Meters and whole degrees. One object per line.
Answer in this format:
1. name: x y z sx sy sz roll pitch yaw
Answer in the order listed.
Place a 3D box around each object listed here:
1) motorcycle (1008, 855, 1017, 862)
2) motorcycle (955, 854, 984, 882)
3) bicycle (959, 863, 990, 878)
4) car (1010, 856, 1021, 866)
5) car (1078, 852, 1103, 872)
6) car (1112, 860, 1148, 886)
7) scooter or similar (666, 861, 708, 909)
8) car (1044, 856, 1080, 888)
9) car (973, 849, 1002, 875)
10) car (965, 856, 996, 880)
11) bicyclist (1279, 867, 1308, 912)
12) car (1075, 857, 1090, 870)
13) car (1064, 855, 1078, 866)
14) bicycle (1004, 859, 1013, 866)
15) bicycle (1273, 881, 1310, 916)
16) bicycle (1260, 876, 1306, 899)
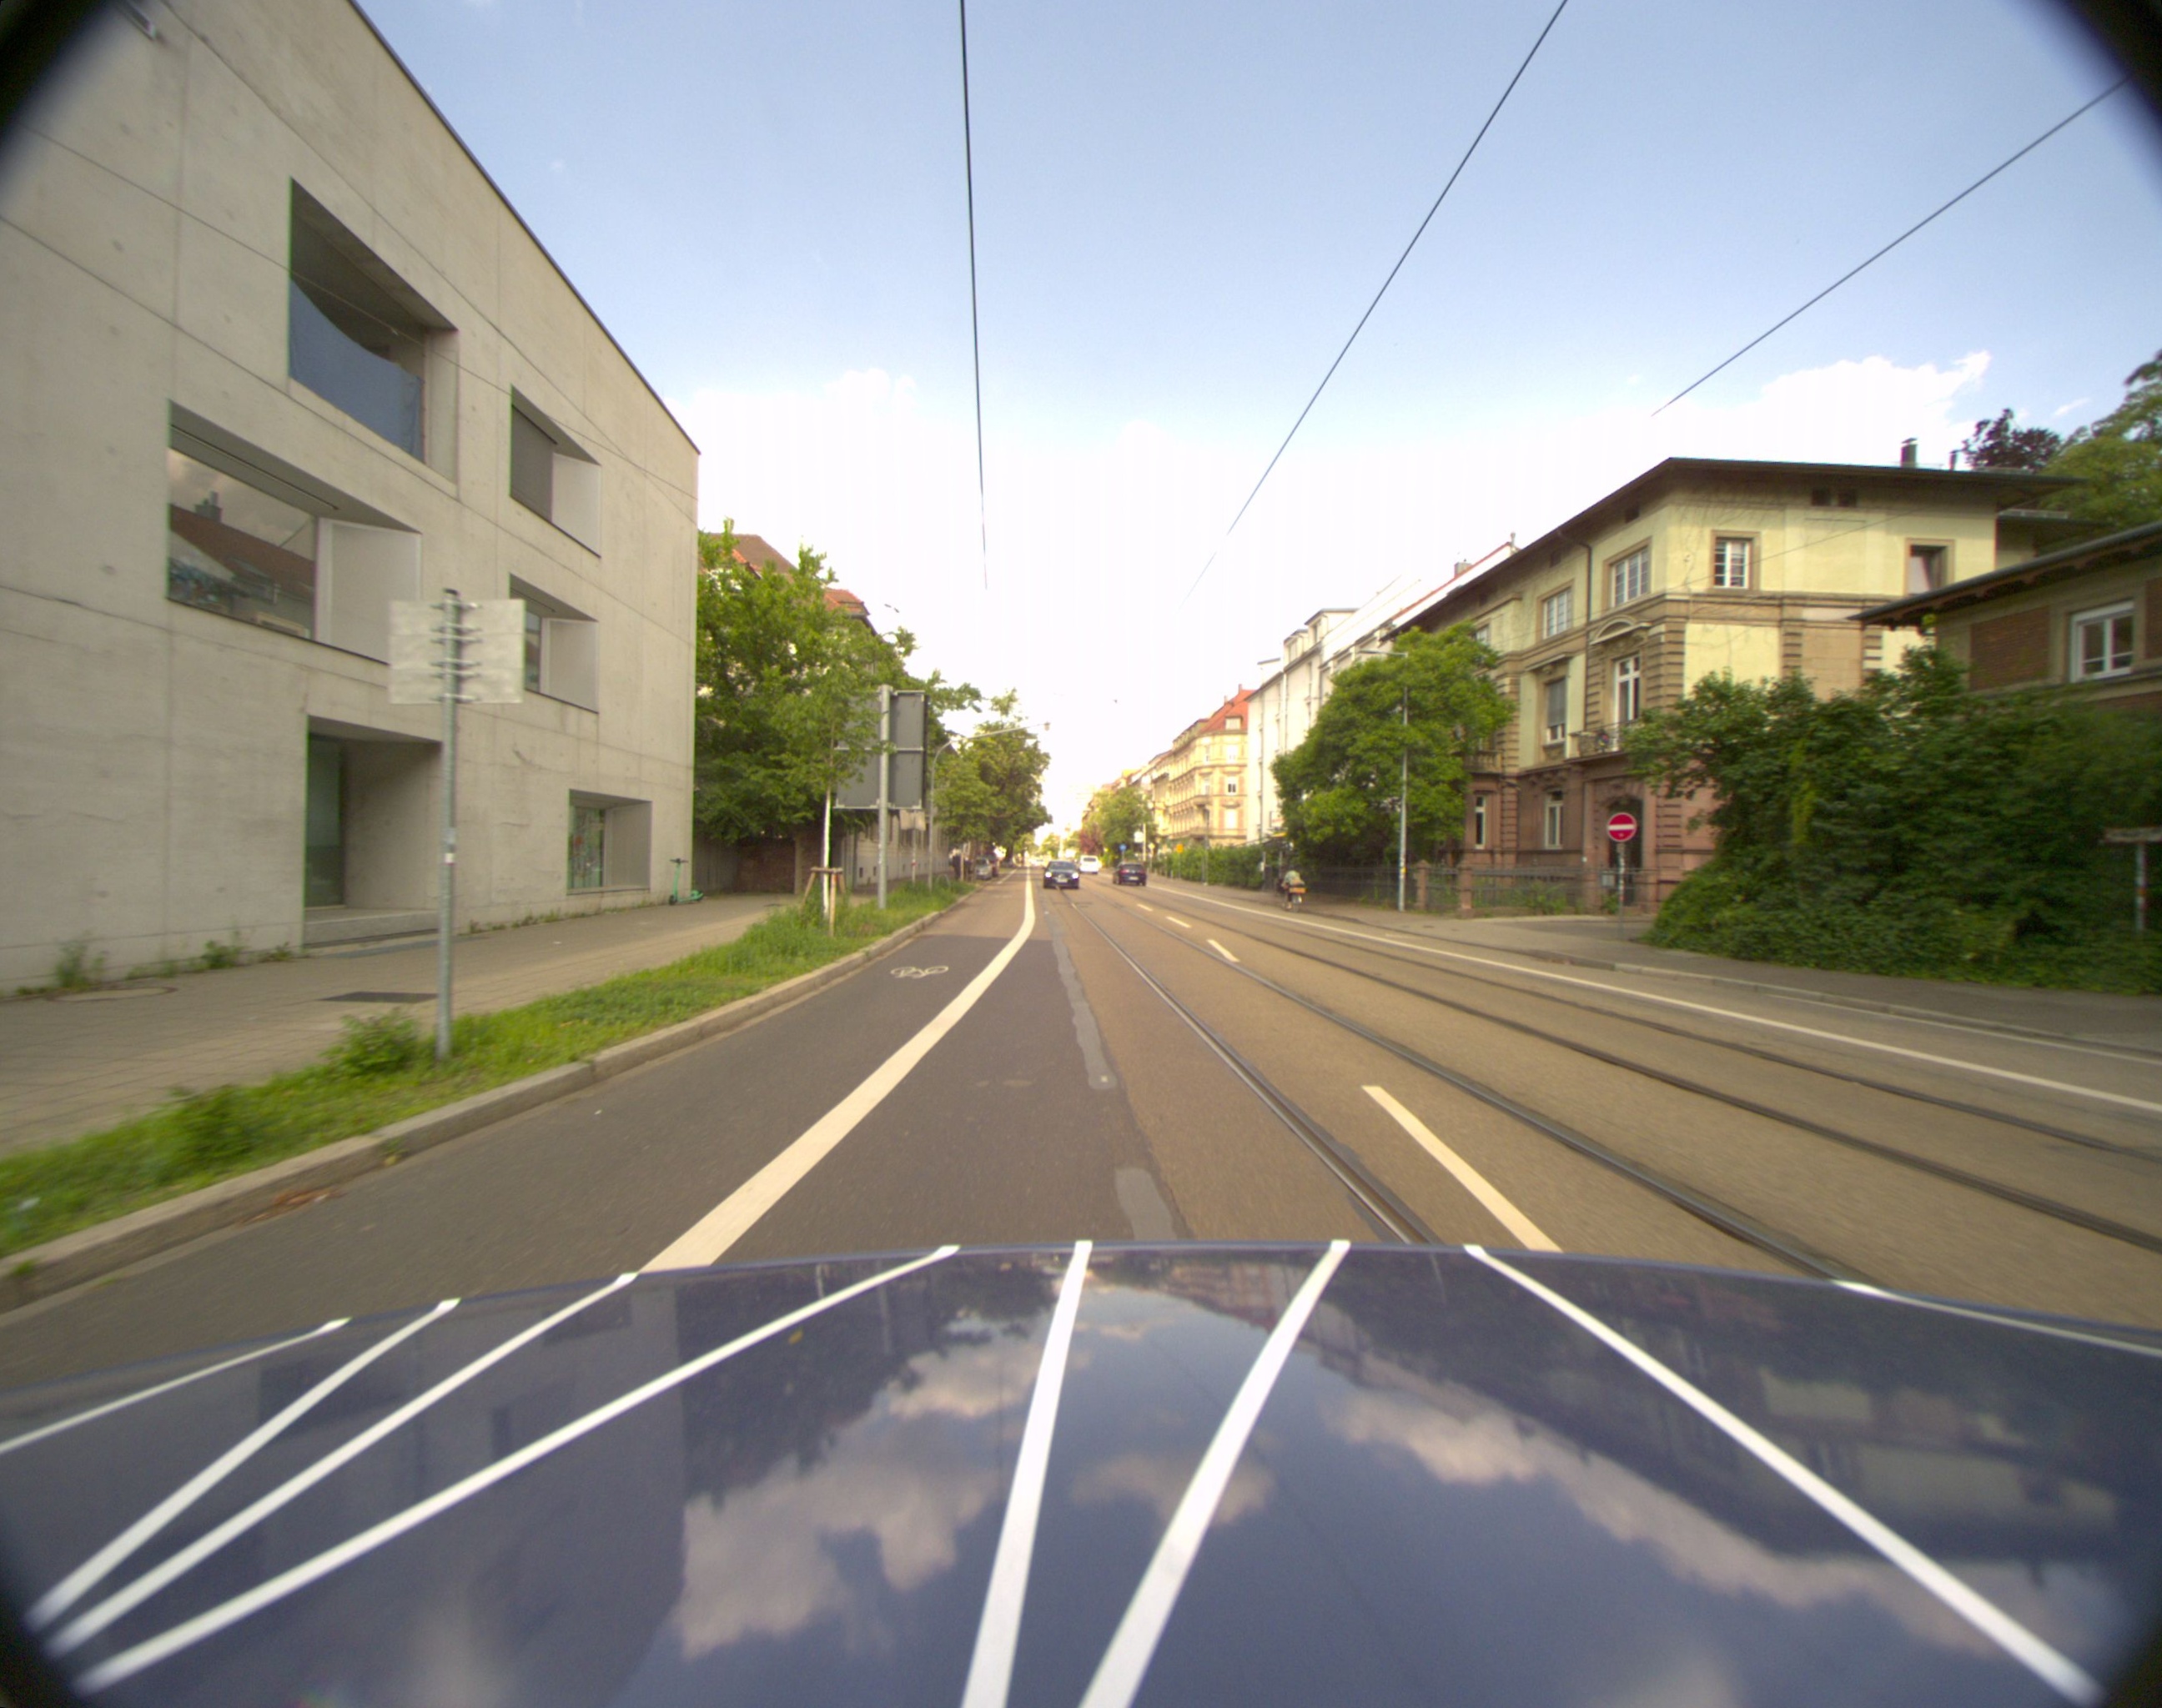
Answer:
1. motorcycle: -14.168 0.896 157.327 2.064 1.485 0.812 1 0 42
2. motorcycle: -6.292 0.791 43.193 0.982 1.533 2.441 1 0 7
3. bicycle: -6.553 1.003 46.708 1.781 0.897 0.691 1 0 -1
4. car: -9.854 1.078 114.563 1.590 1.436 3.896 1 0 -4
5. car: 0.951 0.740 76.396 1.903 1.896 5.381 1 0 -5
6. car: 3.024 1.161 47.579 1.693 1.393 3.929 3 0 -4
7. scooter or similar: -10.014 0.768 19.335 0.323 1.174 1.149 1 0 9
8. car: -1.027 0.899 39.503 1.694 1.567 4.155 1 0 -4
9. car: -7.185 0.593 58.872 1.901 1.929 4.948 1 0 -4
10. car: -6.612 0.878 50.358 1.712 1.489 4.787 1 0 -4
11. bicyclist: 7.470 1.226 26.728 0.601 1.484 0.882 6 0 -1
12. car: 0.142 1.185 96.286 1.636 1.547 3.820 1 0 -4
13. car: -1.555 1.006 115.229 1.732 1.531 4.275 2 0 -5
14. bicycle: -10.284 1.210 107.868 1.271 1.060 0.478 1 0 -5
15. bicycle: 7.430 1.556 26.909 0.604 1.090 2.022 6 -1 -1
16. bicycle: 9.470 1.546 35.720 1.146 0.903 2.987 -2 0 -4
